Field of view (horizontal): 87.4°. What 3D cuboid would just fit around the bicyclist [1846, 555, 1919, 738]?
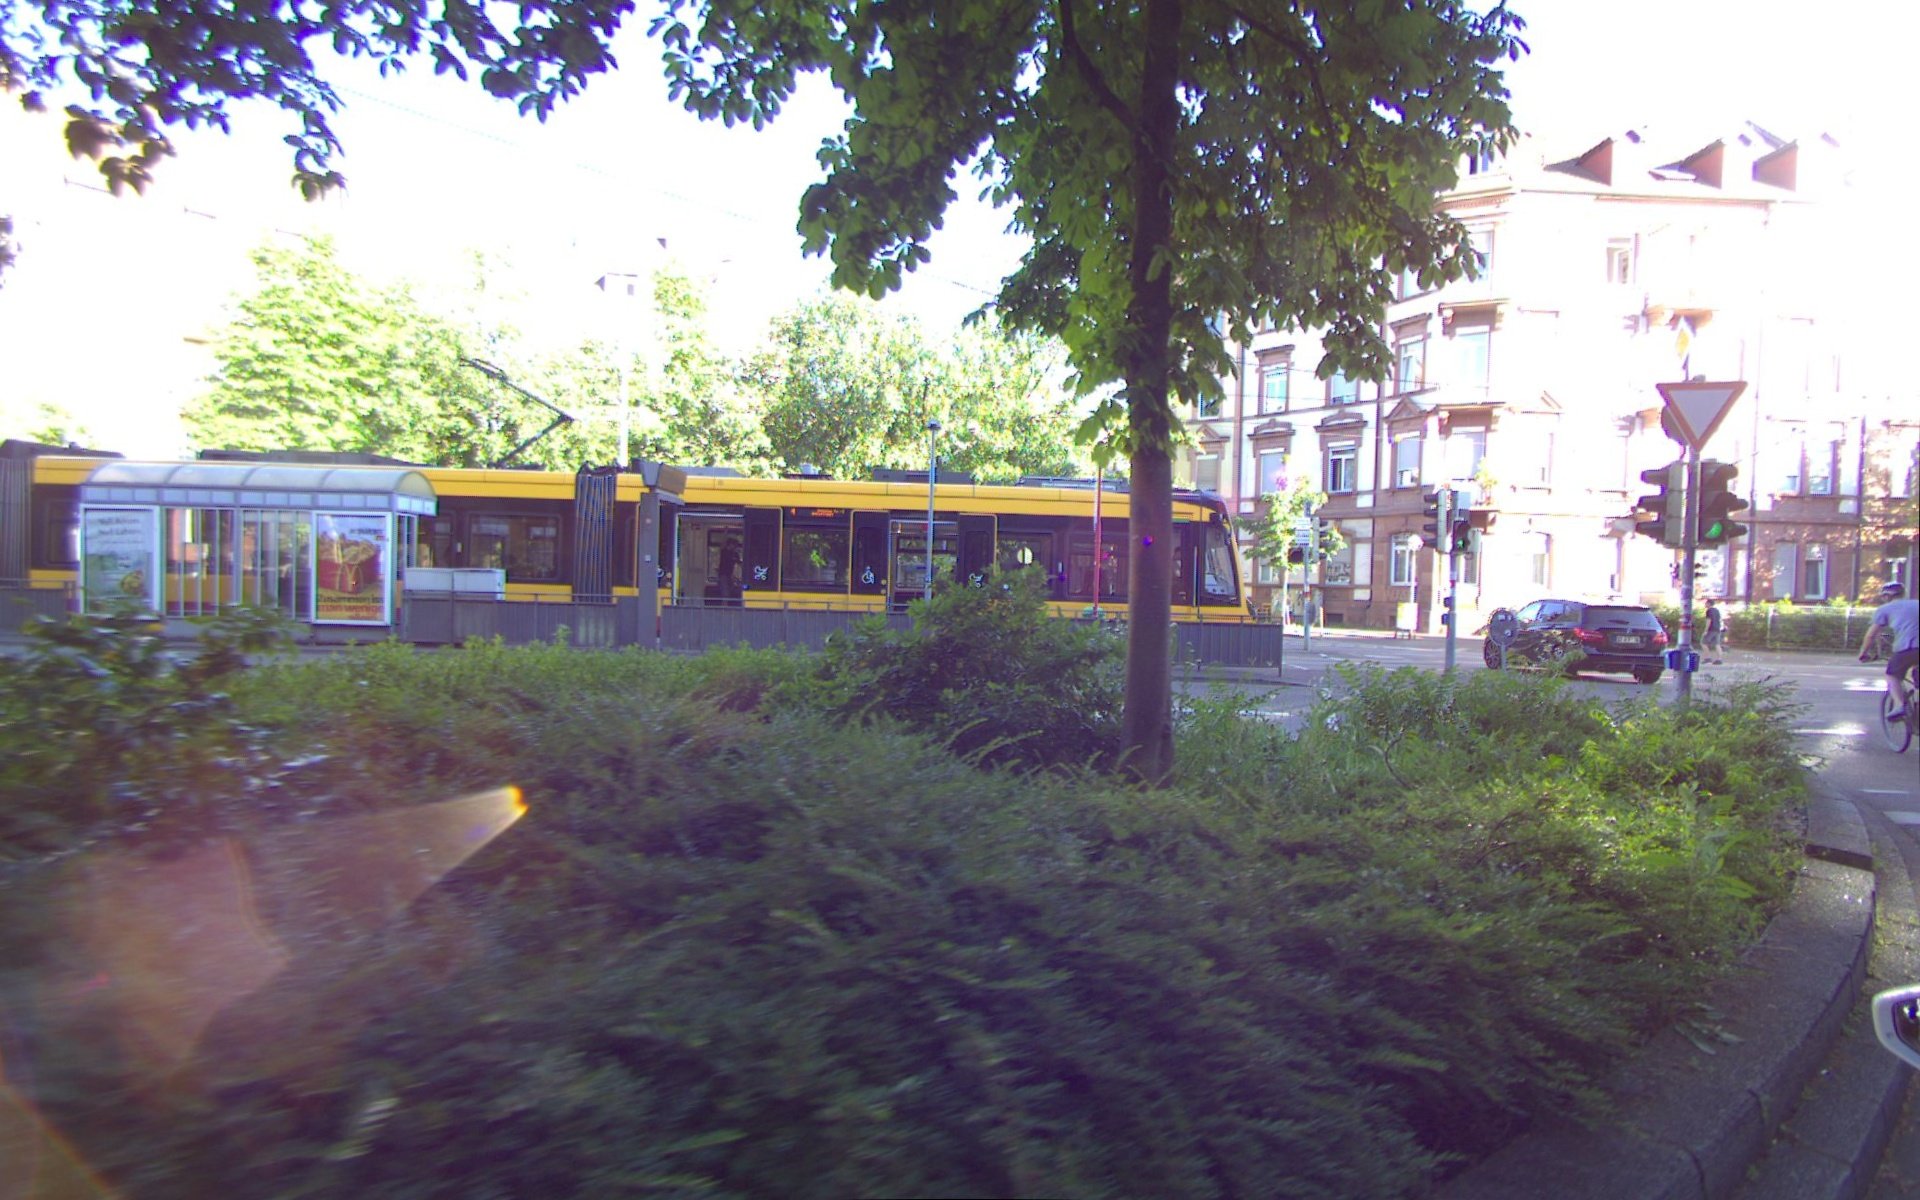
[{"bbox_3d":[10.395,0.493,11.079,0.784,1.939,0.941,3,1,37],"label":"bicyclist"}]

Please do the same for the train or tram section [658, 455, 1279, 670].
[{"bbox_3d":[0.160,-0.715,20.287,11.568,3.668,2.800,2,1,0],"label":"train or tram section"}]

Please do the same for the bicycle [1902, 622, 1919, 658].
[{"bbox_3d":[30.931,1.277,32.056,1.208,1.122,0.443,2,2,6],"label":"bicycle"}]

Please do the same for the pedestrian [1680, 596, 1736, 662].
[{"bbox_3d":[19.825,0.756,26.637,0.717,1.657,0.897,0,4,-31],"label":"pedestrian"}]

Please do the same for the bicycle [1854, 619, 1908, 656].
[{"bbox_3d":[29.546,1.198,32.224,1.208,1.122,0.443,1,2,6],"label":"bicycle"}]

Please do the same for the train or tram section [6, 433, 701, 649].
[{"bbox_3d":[-11.714,-1.116,20.190,12.176,3.635,2.786,2,1,0],"label":"train or tram section"}]

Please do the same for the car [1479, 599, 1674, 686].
[{"bbox_3d":[12.241,0.777,20.247,1.759,1.562,3.861,0,0,4],"label":"car"}]

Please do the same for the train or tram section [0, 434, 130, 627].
[{"bbox_3d":[-24.026,-1.523,20.097,12.432,3.605,2.773,2,1,0],"label":"train or tram section"}]

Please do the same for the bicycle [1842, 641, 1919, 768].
[{"bbox_3d":[10.265,1.090,10.934,0.799,1.200,2.218,2,1,37],"label":"bicycle"}]

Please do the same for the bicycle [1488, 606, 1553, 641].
[{"bbox_3d":[20.036,0.837,35.931,1.933,1.122,0.442,4,2,34],"label":"bicycle"}]
